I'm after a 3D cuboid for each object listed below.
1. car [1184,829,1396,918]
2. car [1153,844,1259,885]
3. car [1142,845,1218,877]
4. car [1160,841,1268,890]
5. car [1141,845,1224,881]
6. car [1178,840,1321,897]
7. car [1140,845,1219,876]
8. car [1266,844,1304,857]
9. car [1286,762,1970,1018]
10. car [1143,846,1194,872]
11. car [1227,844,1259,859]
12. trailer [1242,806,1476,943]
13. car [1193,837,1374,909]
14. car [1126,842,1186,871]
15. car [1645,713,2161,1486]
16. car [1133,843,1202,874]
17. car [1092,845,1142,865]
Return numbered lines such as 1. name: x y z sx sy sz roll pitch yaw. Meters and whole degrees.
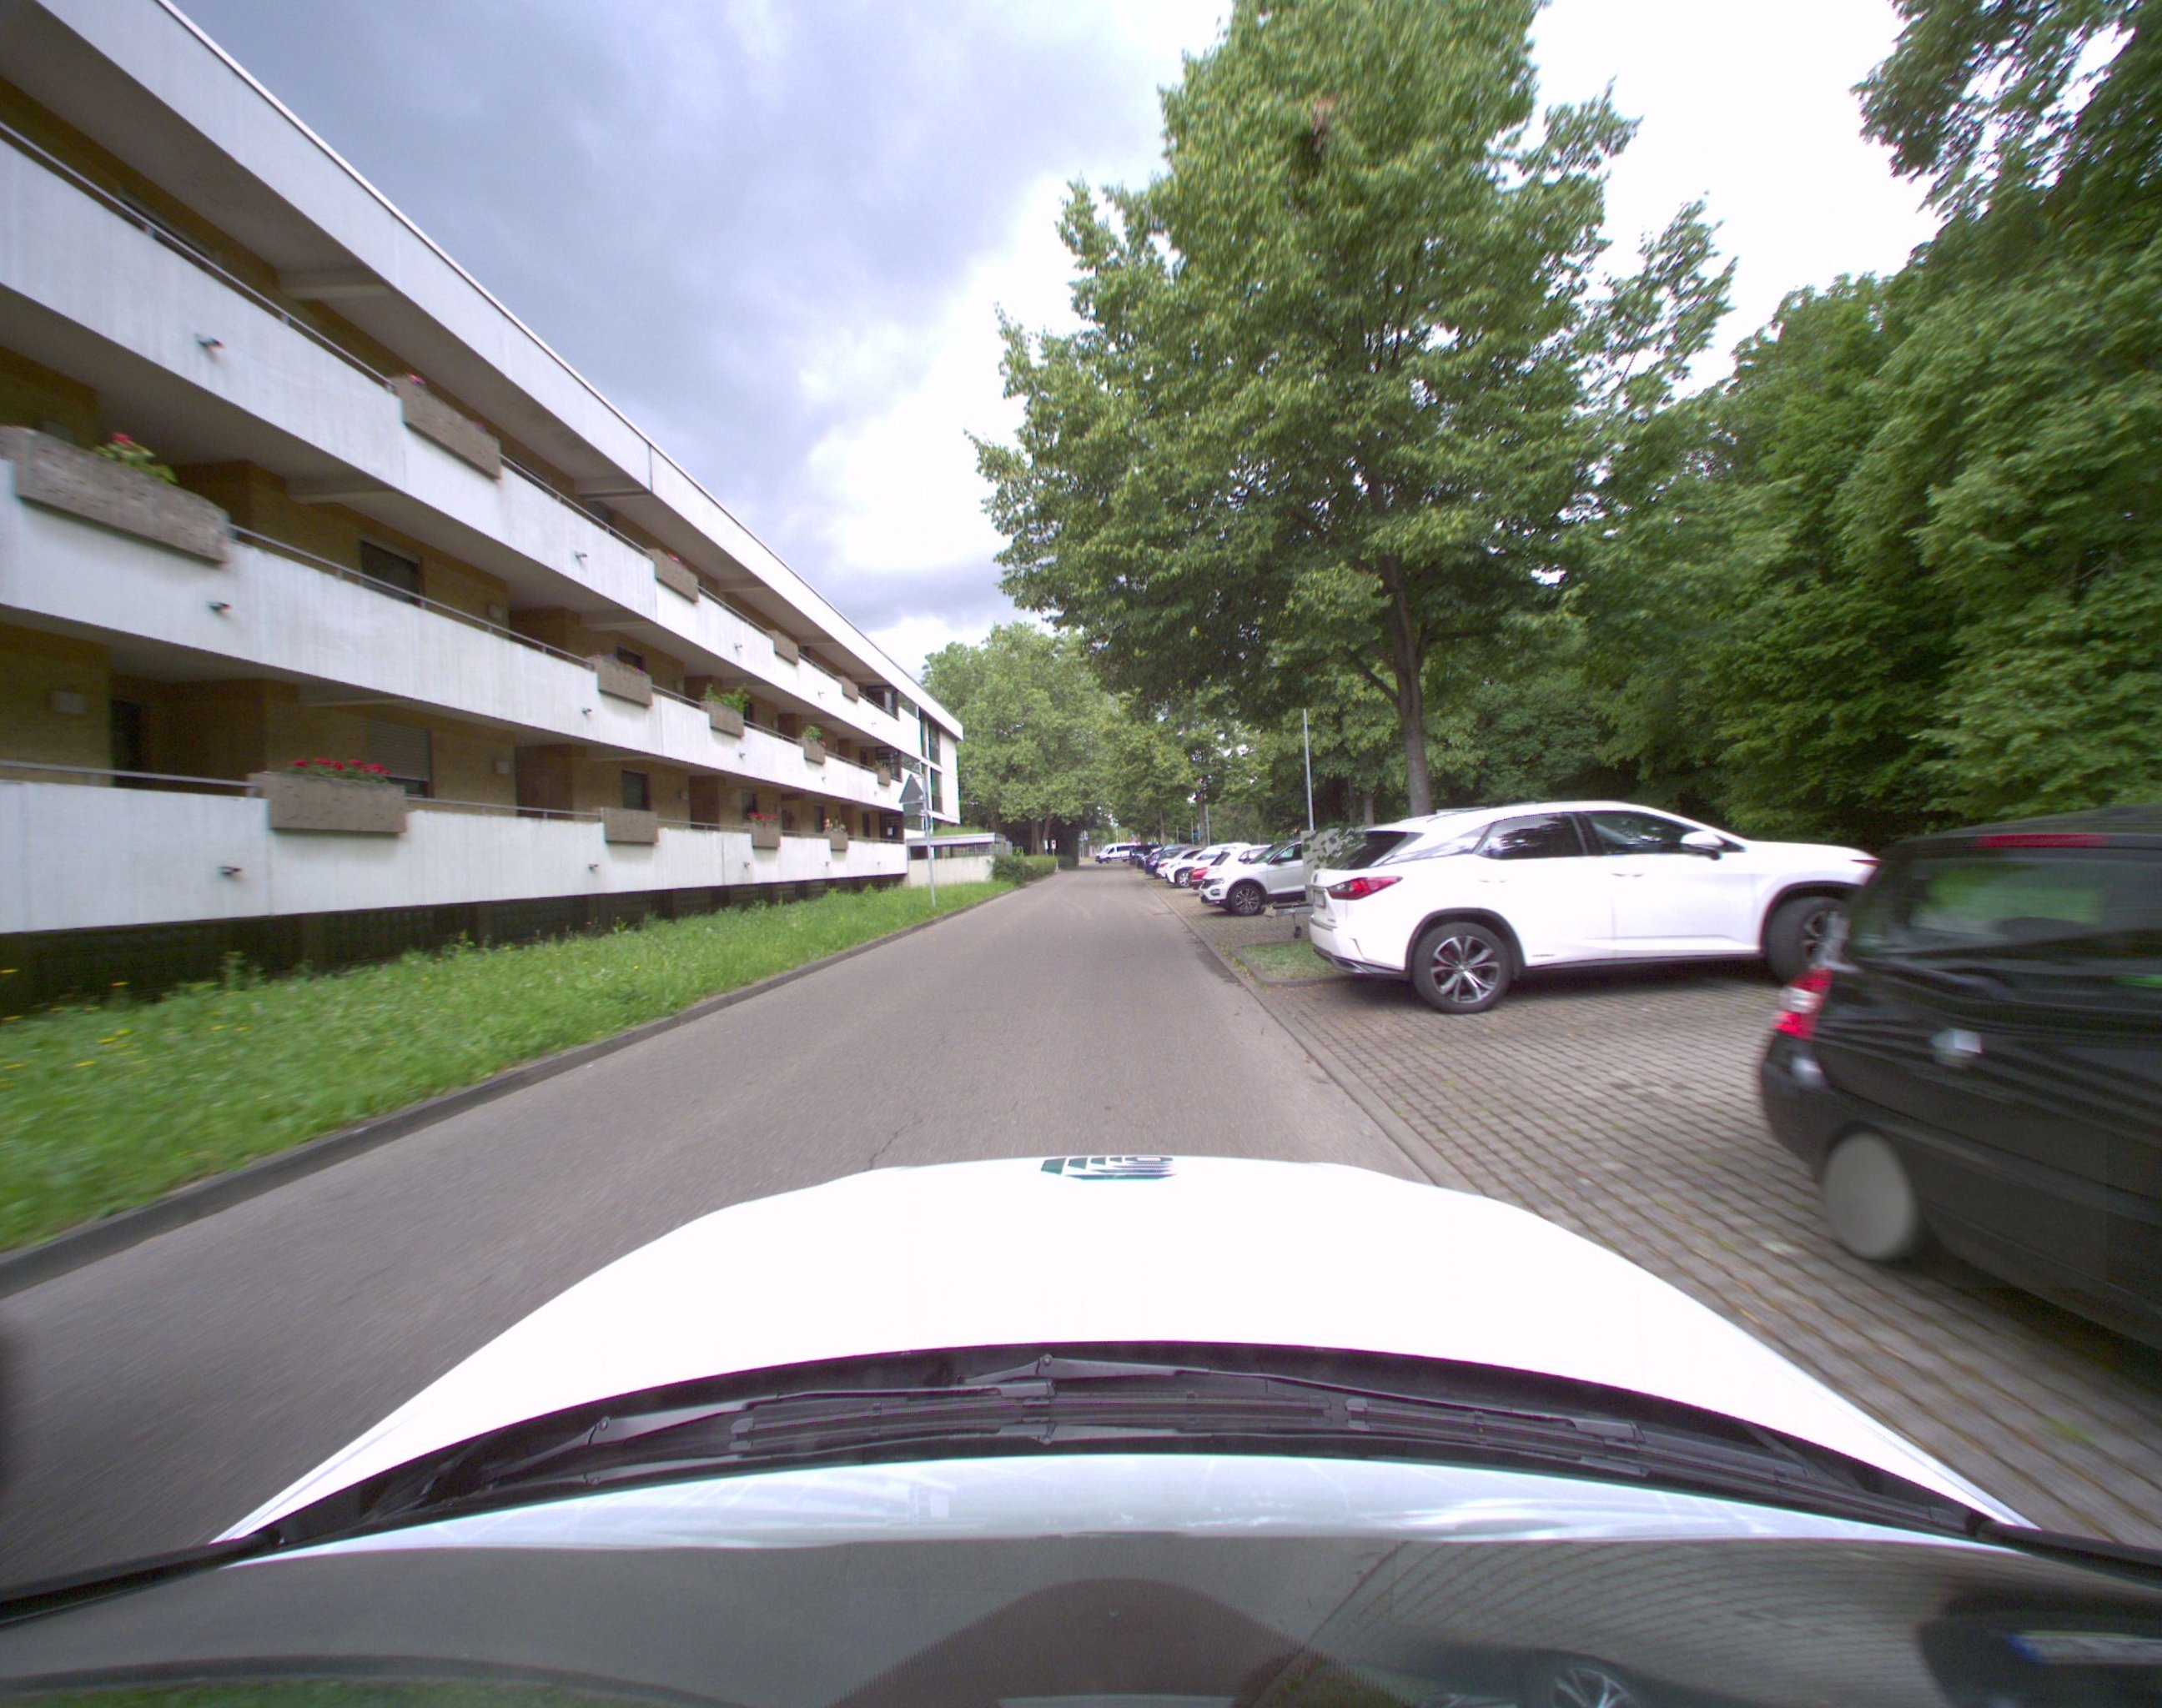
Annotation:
1. car: 4.491 0.420 17.943 4.101 1.548 1.860 -4 -1 -1
2. car: 5.571 0.456 36.715 4.468 1.454 1.847 -4 -1 2
3. car: 5.664 0.391 47.017 4.062 1.517 1.850 -4 -1 -2
4. car: 4.986 0.425 30.956 3.822 1.515 1.883 -5 -1 4
5. car: 5.170 0.462 41.900 4.056 1.456 1.852 -4 -1 2
6. car: 5.225 0.446 25.605 4.040 1.422 1.817 -4 -1 0
7. car: 5.998 0.398 49.852 4.616 1.517 1.984 -5 0 3
8. car: 25.439 -0.454 101.648 4.368 1.428 1.707 -3 -1 8
9. car: 4.533 0.320 7.495 4.795 1.693 1.977 -5 -1 5
10. car: 6.168 0.360 57.631 3.366 1.574 1.797 -5 0 2
11. car: 20.347 -0.308 102.458 3.757 1.668 1.772 -3 -1 9
12. trailer: 4.262 0.303 12.786 3.021 1.790 1.563 -4 -1 -1
13. car: 4.997 0.453 20.479 4.000 1.422 1.790 -4 -1 -4
14. car: 6.478 0.188 70.512 4.934 2.013 2.167 -5 -1 3
15. car: 4.273 0.387 2.176 4.140 1.570 1.853 -3 -1 3
16. car: 5.812 0.307 55.032 4.399 1.675 2.083 -5 0 1
17. car: 4.777 0.123 107.035 6.294 2.476 2.119 -2 0 -30
